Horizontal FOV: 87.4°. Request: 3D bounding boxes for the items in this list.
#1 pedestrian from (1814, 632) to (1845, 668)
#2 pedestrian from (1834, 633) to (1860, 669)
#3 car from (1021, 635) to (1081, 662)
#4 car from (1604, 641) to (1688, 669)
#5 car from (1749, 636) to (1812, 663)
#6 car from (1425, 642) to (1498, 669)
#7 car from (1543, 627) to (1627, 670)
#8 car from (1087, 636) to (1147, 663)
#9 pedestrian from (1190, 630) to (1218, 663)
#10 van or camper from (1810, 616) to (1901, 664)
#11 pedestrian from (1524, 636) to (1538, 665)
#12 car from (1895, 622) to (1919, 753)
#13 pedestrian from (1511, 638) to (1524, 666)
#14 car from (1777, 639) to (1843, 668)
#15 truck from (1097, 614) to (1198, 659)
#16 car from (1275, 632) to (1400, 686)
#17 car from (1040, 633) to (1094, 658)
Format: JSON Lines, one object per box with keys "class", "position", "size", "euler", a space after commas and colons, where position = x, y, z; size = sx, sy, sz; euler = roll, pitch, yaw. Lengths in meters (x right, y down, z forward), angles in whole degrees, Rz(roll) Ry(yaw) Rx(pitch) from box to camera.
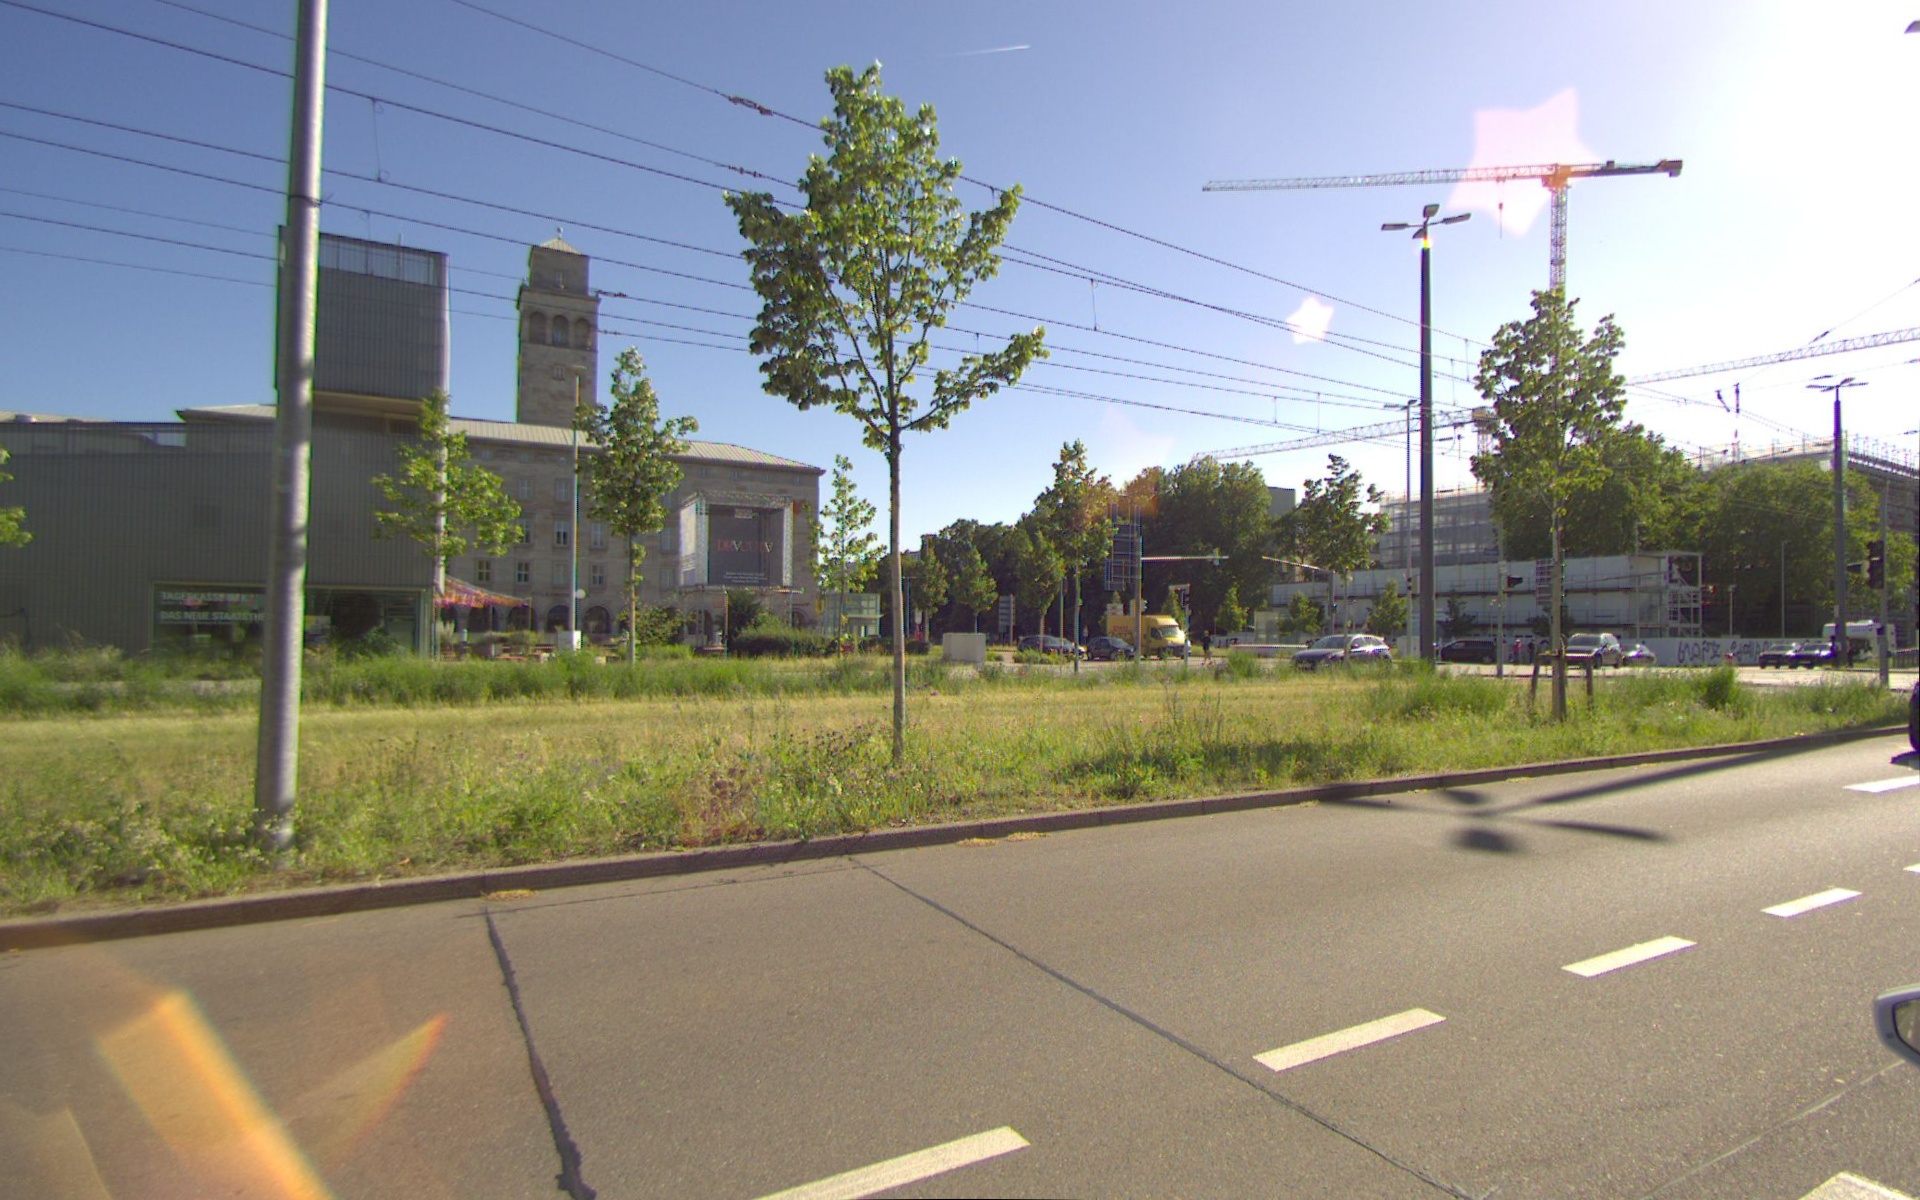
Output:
{"class": "pedestrian", "position": [44.548, 2.557, 51.478], "size": [0.864, 1.847, 0.803], "euler": [0, -1, 2]}
{"class": "pedestrian", "position": [45.976, 2.618, 52.059], "size": [0.966, 1.847, 0.795], "euler": [1, -2, -33]}
{"class": "car", "position": [5.512, 2.919, 61.211], "size": [1.878, 1.559, 3.976], "euler": [2, -2, -25]}
{"class": "car", "position": [42.931, 3.432, 62.940], "size": [3.920, 1.622, 2.001], "euler": [1, -2, 1]}
{"class": "car", "position": [56.595, 3.402, 69.245], "size": [4.507, 1.730, 1.984], "euler": [2, -2, -31]}
{"class": "car", "position": [31.199, 3.444, 62.635], "size": [3.923, 1.622, 2.000], "euler": [0, -2, 22]}
{"class": "car", "position": [29.986, 2.314, 48.167], "size": [3.954, 1.981, 1.861], "euler": [1, -2, -31]}
{"class": "car", "position": [9.817, 3.099, 63.130], "size": [1.878, 1.559, 3.976], "euler": [2, -2, -25]}
{"class": "pedestrian", "position": [13.148, 2.514, 54.191], "size": [0.936, 1.708, 1.186], "euler": [0, 0, -29]}
{"class": "van or camper", "position": [58.779, 2.644, 65.858], "size": [7.262, 2.976, 2.591], "euler": [2, -2, -33]}
{"class": "pedestrian", "position": [36.731, 3.262, 64.606], "size": [0.687, 1.847, 0.595], "euler": [0, -1, 22]}
{"class": "car", "position": [13.967, 1.149, 12.939], "size": [4.041, 1.609, 1.761], "euler": [2, 0, -31]}
{"class": "pedestrian", "position": [37.205, 3.474, 67.064], "size": [0.687, 1.847, 0.595], "euler": [0, -1, 22]}
{"class": "car", "position": [51.978, 3.263, 61.410], "size": [4.320, 1.730, 1.935], "euler": [2, -2, -32]}
{"class": "truck", "position": [12.261, 2.384, 66.550], "size": [2.429, 2.829, 7.985], "euler": [1, -2, -25]}
{"class": "car", "position": [12.906, 1.982, 34.286], "size": [4.040, 1.711, 1.818], "euler": [1, -2, -28]}
{"class": "car", "position": [7.182, 3.051, 67.720], "size": [1.878, 1.559, 3.976], "euler": [2, -2, -25]}
